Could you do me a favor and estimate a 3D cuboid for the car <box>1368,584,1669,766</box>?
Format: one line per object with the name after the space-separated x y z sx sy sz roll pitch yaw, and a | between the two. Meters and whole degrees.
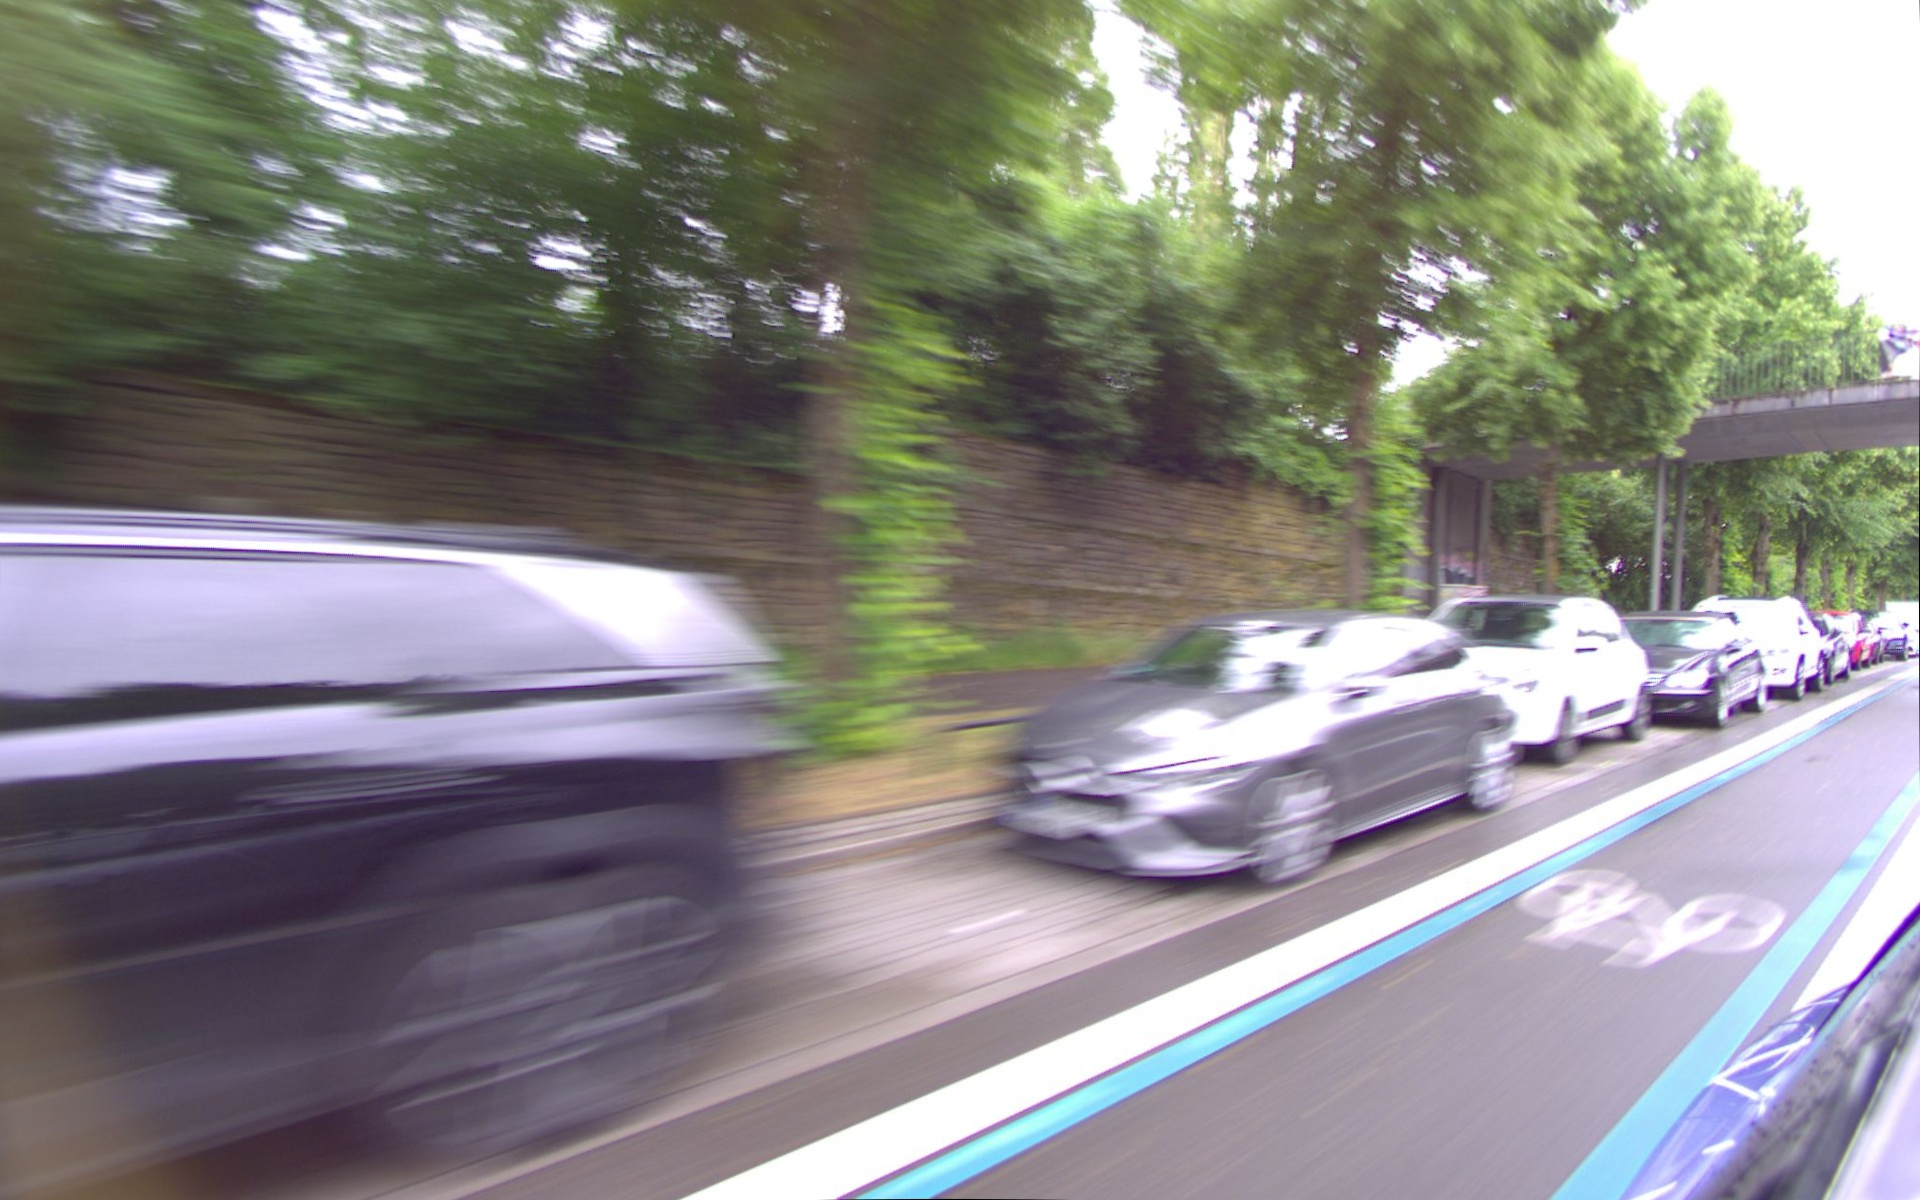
5.892 0.632 10.517 3.678 1.554 1.663 0 0 -43 | car

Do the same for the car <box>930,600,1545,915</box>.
2.052 0.703 6.647 4.388 1.365 1.778 -1 0 -41 | car

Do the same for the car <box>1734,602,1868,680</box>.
17.848 0.786 21.395 4.376 1.411 1.674 -1 1 -43 | car

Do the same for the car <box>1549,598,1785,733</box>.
9.545 0.735 13.517 4.483 1.393 1.720 -2 2 -43 | car

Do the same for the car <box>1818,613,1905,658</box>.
26.890 1.045 30.148 4.113 1.205 1.627 2 -1 -44 | car

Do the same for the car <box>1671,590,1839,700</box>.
13.647 0.663 17.290 4.190 1.639 1.715 0 1 -44 | car

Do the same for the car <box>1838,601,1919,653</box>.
30.914 0.907 33.940 1.994 1.580 4.568 1 -1 44 | car

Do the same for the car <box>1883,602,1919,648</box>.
39.994 1.083 42.343 4.271 1.813 1.724 2 -1 -43 | car

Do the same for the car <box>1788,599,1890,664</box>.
22.688 0.836 26.094 3.562 1.485 1.561 5 -3 -42 | car

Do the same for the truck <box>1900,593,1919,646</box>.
44.151 0.940 46.055 3.932 2.363 1.721 2 -1 -43 | truck

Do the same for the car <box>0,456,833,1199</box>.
-2.653 0.568 2.559 4.276 1.666 1.995 -1 0 -43 | car

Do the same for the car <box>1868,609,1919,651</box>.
35.193 1.121 37.639 4.538 1.444 1.662 2 -1 -42 | car
